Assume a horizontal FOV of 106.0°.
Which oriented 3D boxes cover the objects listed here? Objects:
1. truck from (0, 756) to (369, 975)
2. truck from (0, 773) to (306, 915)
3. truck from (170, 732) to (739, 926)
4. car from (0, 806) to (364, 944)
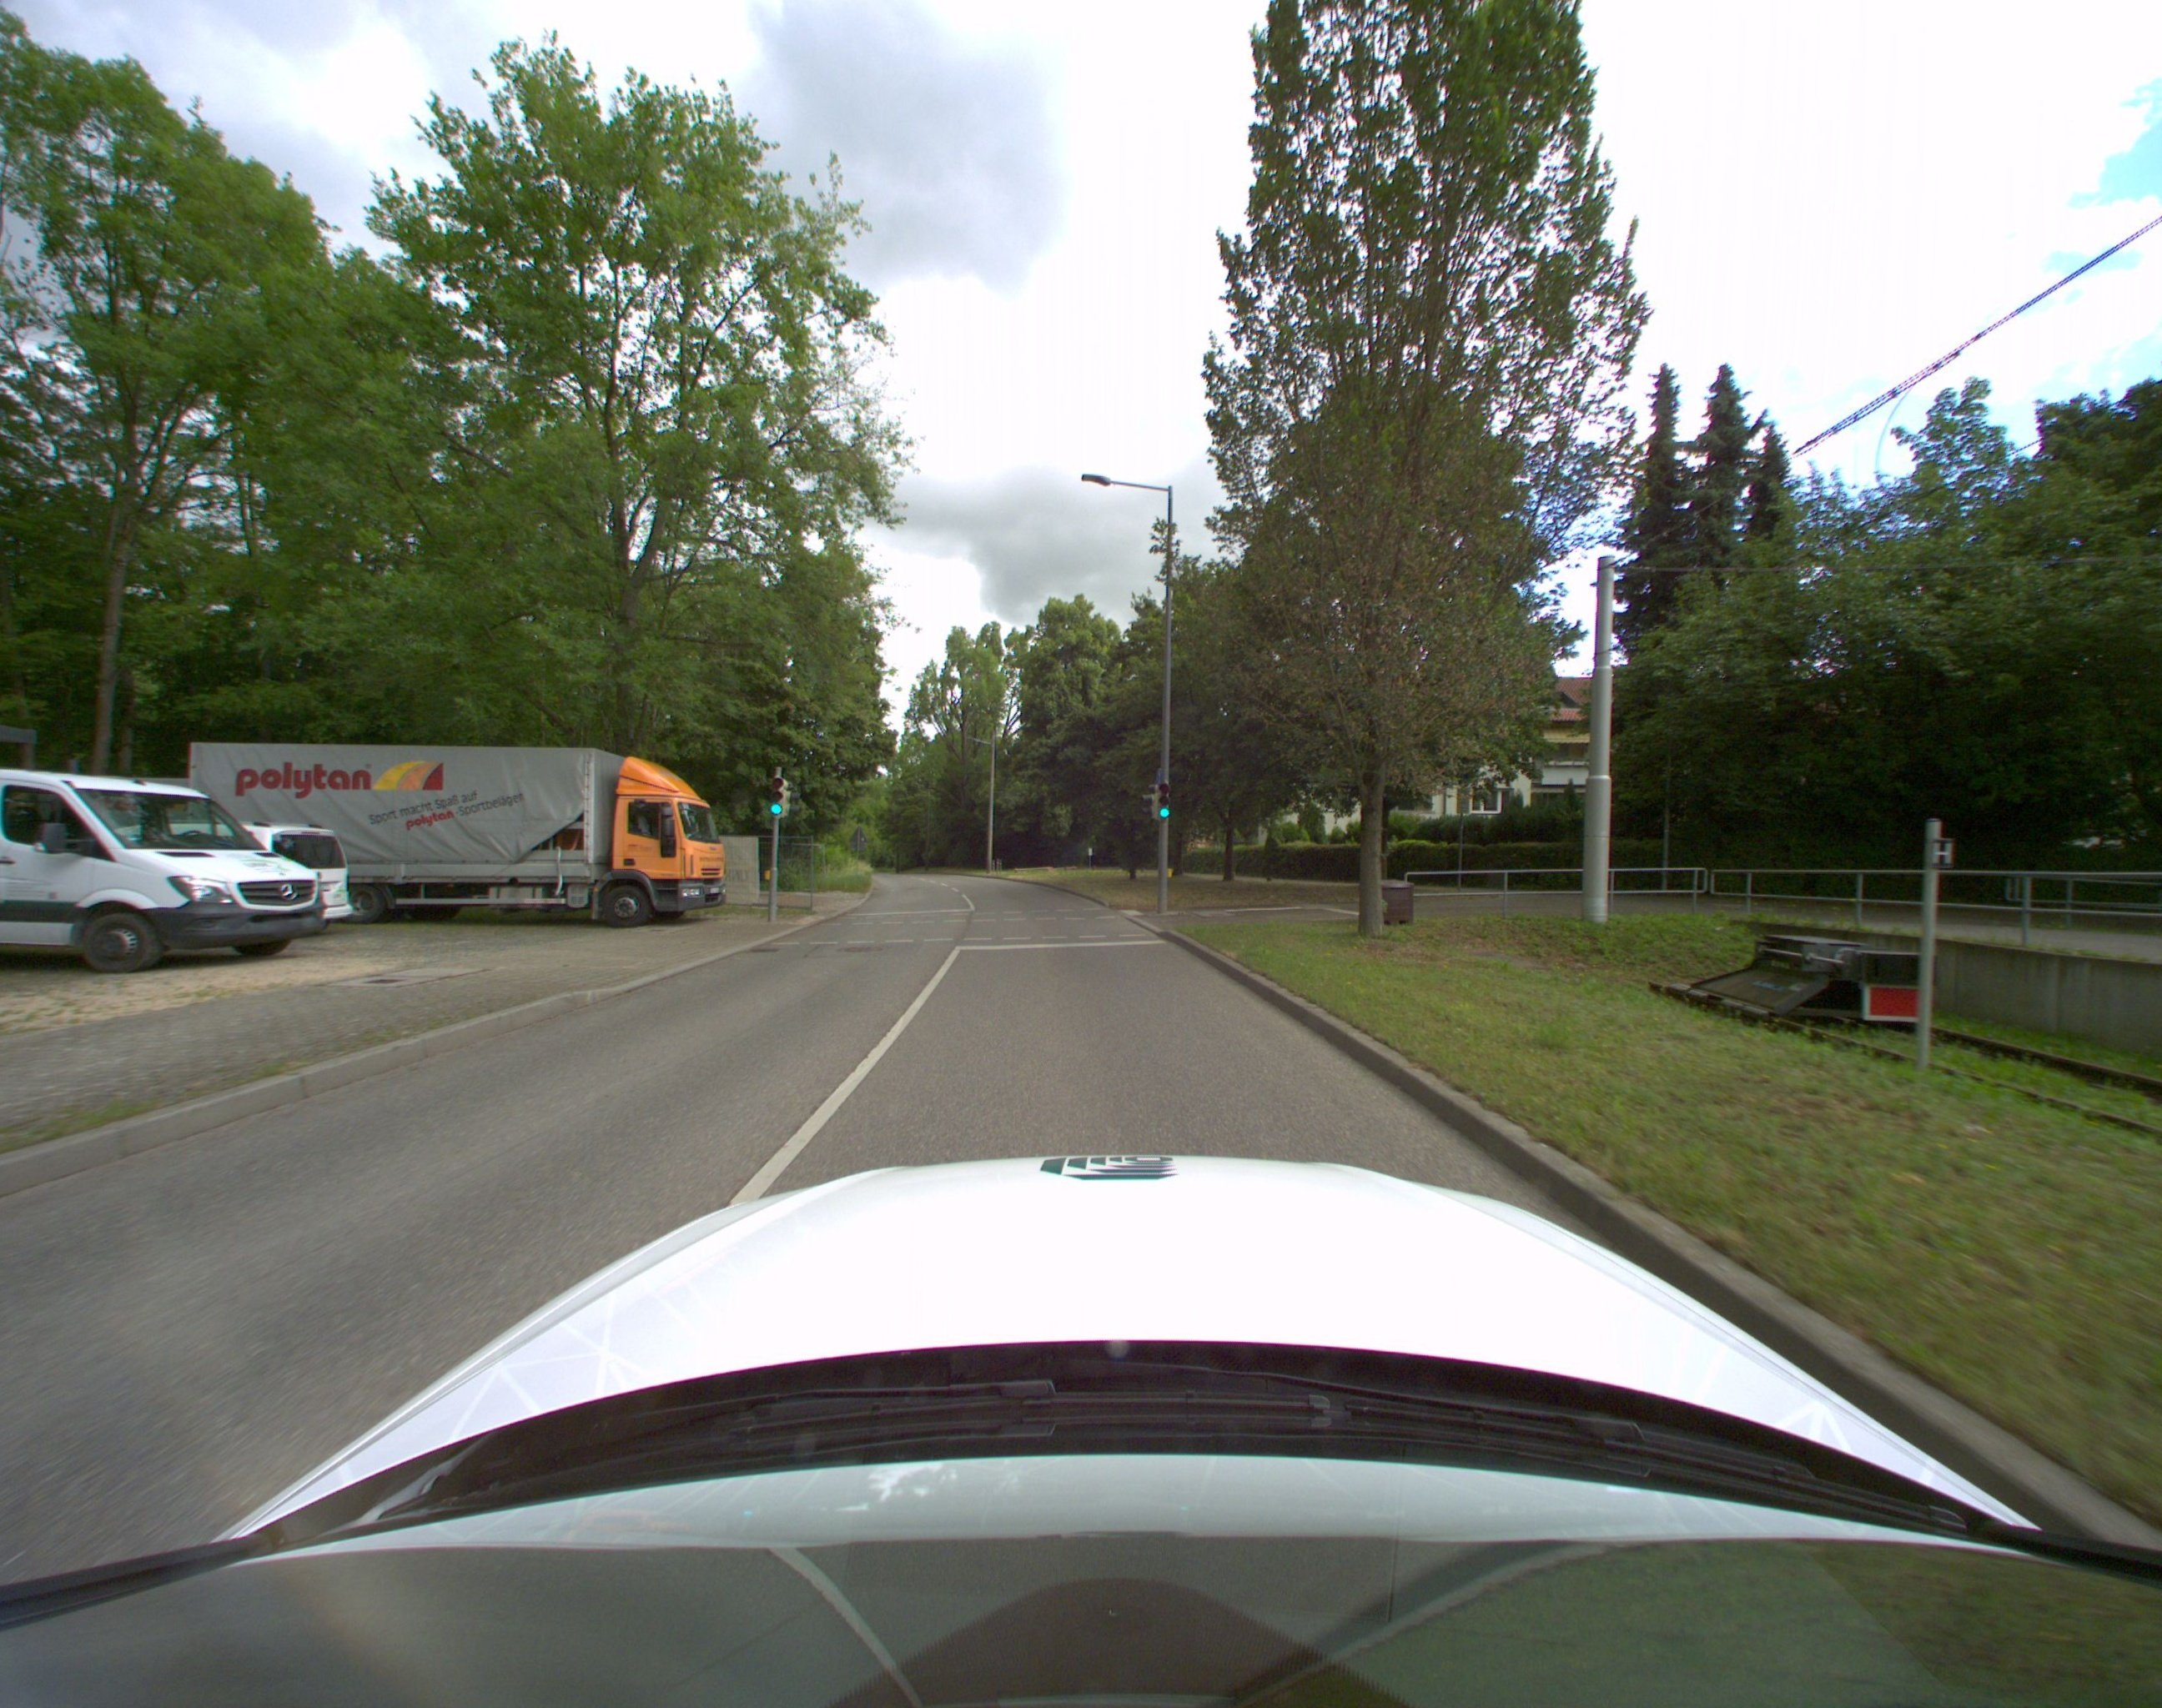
[{"bbox_3d":[-13.170,0.098,10.032,6.381,2.416,2.118,2,-1,-8],"label":"truck"},{"bbox_3d":[-23.513,-0.268,20.008,5.920,3.199,2.436,0,2,-23],"label":"truck"},{"bbox_3d":[-12.305,-0.416,16.791,9.216,3.531,2.560,1,-1,-6],"label":"truck"},{"bbox_3d":[-14.226,0.313,12.836,3.983,1.909,1.778,2,0,-7],"label":"car"}]
